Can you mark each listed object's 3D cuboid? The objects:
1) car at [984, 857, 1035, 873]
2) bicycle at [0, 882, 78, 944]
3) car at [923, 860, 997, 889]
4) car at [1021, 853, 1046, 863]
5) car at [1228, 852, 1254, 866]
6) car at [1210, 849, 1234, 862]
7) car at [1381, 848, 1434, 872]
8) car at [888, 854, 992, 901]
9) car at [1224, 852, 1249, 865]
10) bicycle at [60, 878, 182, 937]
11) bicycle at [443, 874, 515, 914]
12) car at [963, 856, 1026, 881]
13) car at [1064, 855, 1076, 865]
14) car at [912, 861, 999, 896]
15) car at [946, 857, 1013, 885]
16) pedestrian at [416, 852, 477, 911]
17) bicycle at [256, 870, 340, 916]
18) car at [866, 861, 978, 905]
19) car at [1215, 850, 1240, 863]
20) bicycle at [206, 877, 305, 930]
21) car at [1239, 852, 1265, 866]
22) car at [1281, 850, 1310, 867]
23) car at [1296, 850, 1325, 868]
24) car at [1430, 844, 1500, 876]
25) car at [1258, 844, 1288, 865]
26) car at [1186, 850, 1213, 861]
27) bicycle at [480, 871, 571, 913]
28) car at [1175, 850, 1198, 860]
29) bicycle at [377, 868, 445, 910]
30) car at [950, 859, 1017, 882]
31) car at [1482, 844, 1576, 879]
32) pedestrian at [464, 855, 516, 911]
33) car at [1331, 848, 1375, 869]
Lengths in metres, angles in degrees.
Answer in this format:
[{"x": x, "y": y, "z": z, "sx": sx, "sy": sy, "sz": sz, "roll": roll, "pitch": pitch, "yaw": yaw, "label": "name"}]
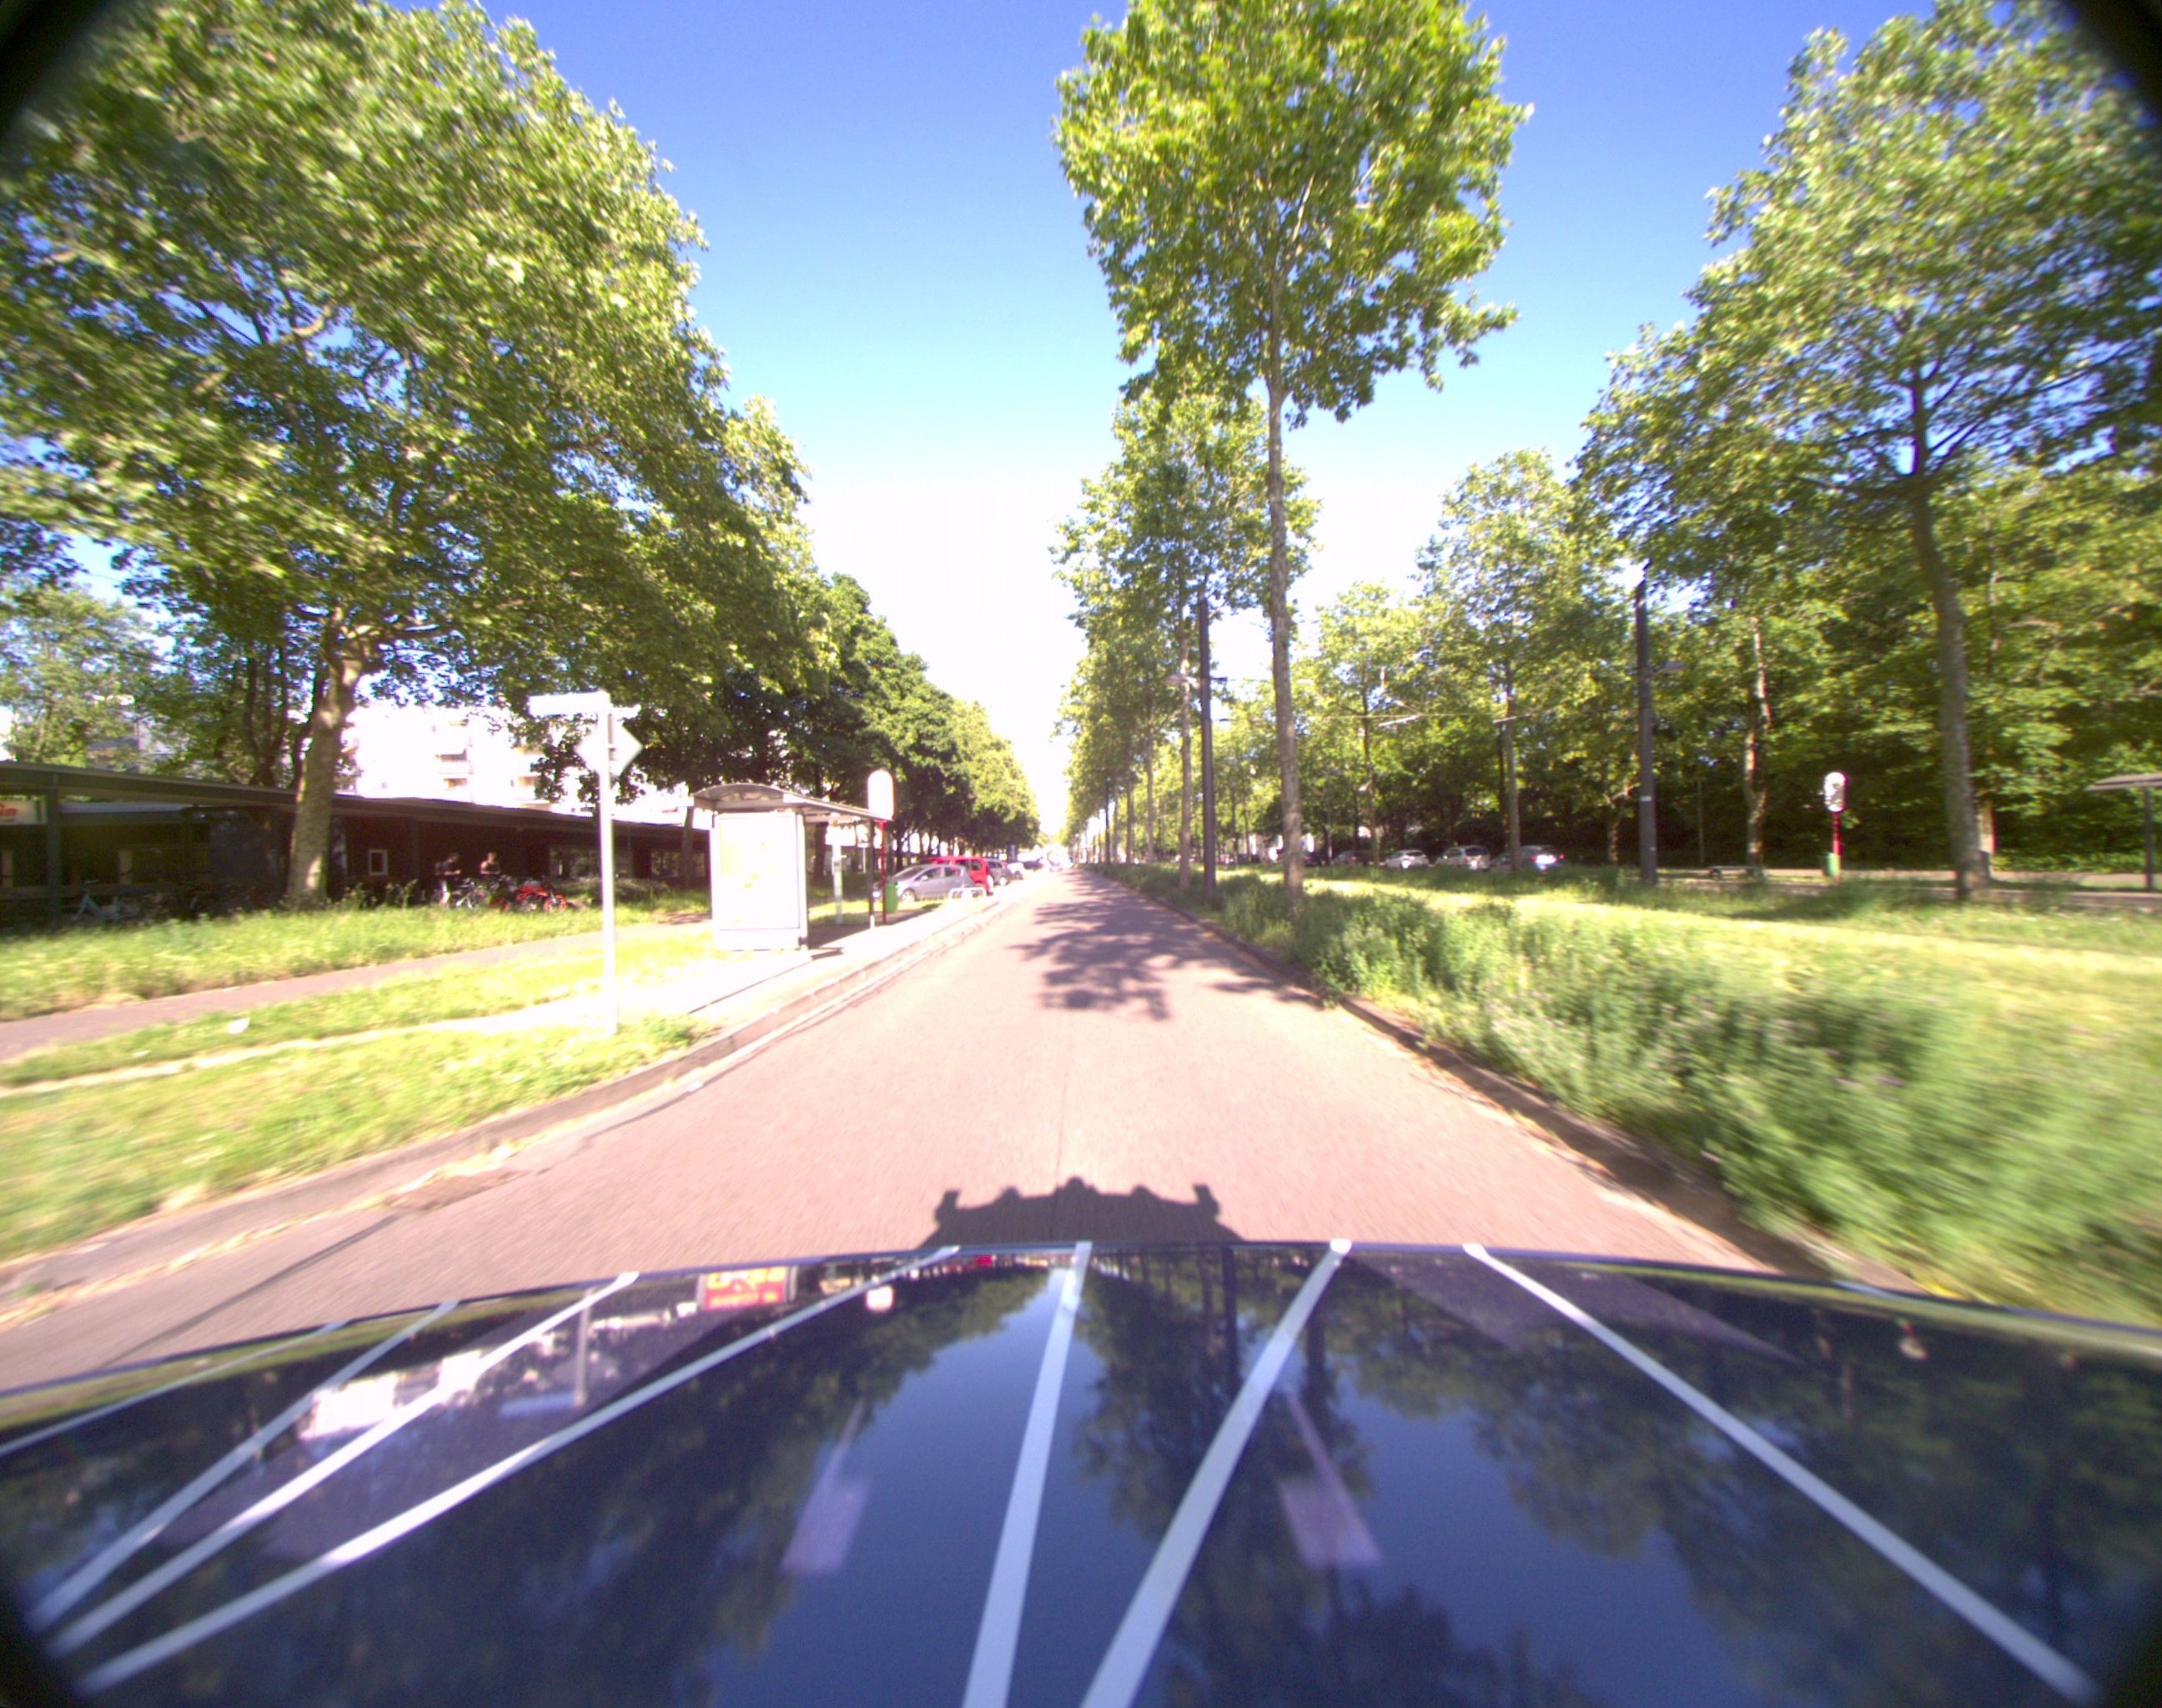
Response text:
[{"x": -6.725, "y": 1.016, "z": 72.307, "sx": 1.994, "sy": 1.417, "sz": 4.686, "roll": 0, "pitch": 0, "yaw": 43, "label": "car"}, {"x": -23.055, "y": 1.274, "z": 16.309, "sx": 0.577, "sy": 1.246, "sz": 1.806, "roll": -3, "pitch": 1, "yaw": -1, "label": "bicycle"}, {"x": -6.562, "y": 1.064, "z": 41.530, "sx": 1.677, "sy": 1.450, "sz": 3.753, "roll": 0, "pitch": 1, "yaw": 43, "label": "car"}, {"x": -8.430, "y": 0.675, "z": 135.381, "sx": 1.894, "sy": 1.663, "sz": 4.510, "roll": 0, "pitch": 0, "yaw": 43, "label": "car"}, {"x": 21.383, "y": 0.637, "z": 101.740, "sx": 1.884, "sy": 1.558, "sz": 4.007, "roll": -2, "pitch": 1, "yaw": 36, "label": "car"}, {"x": 22.478, "y": 0.246, "z": 120.943, "sx": 1.895, "sy": 1.699, "sz": 4.508, "roll": -2, "pitch": 1, "yaw": 36, "label": "car"}, {"x": 22.076, "y": 0.355, "z": 51.562, "sx": 1.723, "sy": 1.410, "sz": 4.023, "roll": -5, "pitch": 0, "yaw": 0, "label": "car"}, {"x": -5.841, "y": 0.920, "z": 31.803, "sx": 3.959, "sy": 1.832, "sz": 1.763, "roll": -1, "pitch": 1, "yaw": -45, "label": "car"}, {"x": 21.602, "y": 0.579, "z": 105.619, "sx": 1.884, "sy": 1.558, "sz": 4.007, "roll": -2, "pitch": 1, "yaw": 36, "label": "car"}, {"x": -23.152, "y": 1.255, "z": 18.385, "sx": 0.577, "sy": 1.246, "sz": 1.806, "roll": -3, "pitch": 1, "yaw": -1, "label": "bicycle"}, {"x": -18.101, "y": 1.187, "z": 22.853, "sx": 2.069, "sy": 1.151, "sz": 0.562, "roll": 0, "pitch": 1, "yaw": 15, "label": "bicycle"}, {"x": -6.396, "y": 1.046, "z": 56.522, "sx": 4.311, "sy": 1.666, "sz": 1.862, "roll": -2, "pitch": 0, "yaw": -43, "label": "car"}, {"x": -1.997, "y": 1.109, "z": 142.860, "sx": 1.897, "sy": 1.623, "sz": 4.502, "roll": -3, "pitch": 0, "yaw": 3, "label": "car"}, {"x": -5.780, "y": 1.106, "z": 35.174, "sx": 3.635, "sy": 1.486, "sz": 1.677, "roll": -1, "pitch": 1, "yaw": -44, "label": "car"}, {"x": -6.011, "y": 0.987, "z": 45.348, "sx": 1.695, "sy": 1.581, "sz": 3.731, "roll": 0, "pitch": 0, "yaw": 43, "label": "car"}, {"x": -18.901, "y": 0.803, "z": 22.667, "sx": 1.131, "sy": 1.698, "sz": 0.732, "roll": -2, "pitch": 1, "yaw": -8, "label": "pedestrian"}, {"x": -23.549, "y": 1.146, "z": 22.897, "sx": 0.577, "sy": 1.246, "sz": 1.806, "roll": -3, "pitch": 1, "yaw": -1, "label": "bicycle"}, {"x": -5.825, "y": 1.031, "z": 28.161, "sx": 3.837, "sy": 1.464, "sz": 1.514, "roll": -1, "pitch": 1, "yaw": -43, "label": "car"}, {"x": 22.077, "y": 0.380, "z": 114.109, "sx": 1.895, "sy": 1.699, "sz": 4.508, "roll": -2, "pitch": 1, "yaw": 36, "label": "car"}, {"x": -21.752, "y": 1.272, "z": 20.072, "sx": 0.577, "sy": 1.246, "sz": 1.806, "roll": -3, "pitch": 1, "yaw": -1, "label": "bicycle"}, {"x": 22.294, "y": 0.618, "z": 99.085, "sx": 1.884, "sy": 1.558, "sz": 4.007, "roll": -2, "pitch": 1, "yaw": 36, "label": "car"}, {"x": 21.810, "y": 0.423, "z": 77.435, "sx": 1.754, "sy": 1.487, "sz": 3.816, "roll": -5, "pitch": 1, "yaw": 0, "label": "car"}, {"x": 21.726, "y": 0.468, "z": 71.979, "sx": 1.545, "sy": 1.480, "sz": 3.569, "roll": -5, "pitch": 0, "yaw": -1, "label": "car"}, {"x": 22.315, "y": 0.305, "z": 44.349, "sx": 1.820, "sy": 1.587, "sz": 4.189, "roll": -5, "pitch": 1, "yaw": 0, "label": "car"}, {"x": 21.300, "y": 0.042, "z": 84.313, "sx": 1.987, "sy": 2.045, "sz": 4.277, "roll": -6, "pitch": 1, "yaw": -1, "label": "car"}, {"x": 21.410, "y": 0.218, "z": 137.420, "sx": 4.506, "sy": 1.699, "sz": 1.895, "roll": -4, "pitch": 1, "yaw": -32, "label": "car"}, {"x": -15.967, "y": 1.082, "z": 21.880, "sx": 2.073, "sy": 1.151, "sz": 0.561, "roll": -1, "pitch": 1, "yaw": -10, "label": "bicycle"}, {"x": 20.457, "y": 0.152, "z": 147.479, "sx": 4.006, "sy": 1.699, "sz": 1.837, "roll": -4, "pitch": 1, "yaw": -32, "label": "car"}, {"x": -21.986, "y": 1.113, "z": 24.981, "sx": 0.577, "sy": 1.246, "sz": 1.806, "roll": -3, "pitch": 1, "yaw": -1, "label": "bicycle"}, {"x": -6.237, "y": 1.045, "z": 48.930, "sx": 1.681, "sy": 1.395, "sz": 4.096, "roll": 0, "pitch": 0, "yaw": 43, "label": "car"}, {"x": 22.258, "y": 0.318, "z": 37.986, "sx": 1.902, "sy": 1.480, "sz": 4.626, "roll": -5, "pitch": 1, "yaw": 0, "label": "car"}, {"x": -19.904, "y": 0.955, "z": 25.603, "sx": 0.967, "sy": 1.830, "sz": 0.952, "roll": -2, "pitch": 1, "yaw": -8, "label": "pedestrian"}, {"x": 22.055, "y": 0.378, "z": 61.846, "sx": 1.843, "sy": 1.480, "sz": 4.178, "roll": -6, "pitch": 0, "yaw": -2, "label": "car"}]
